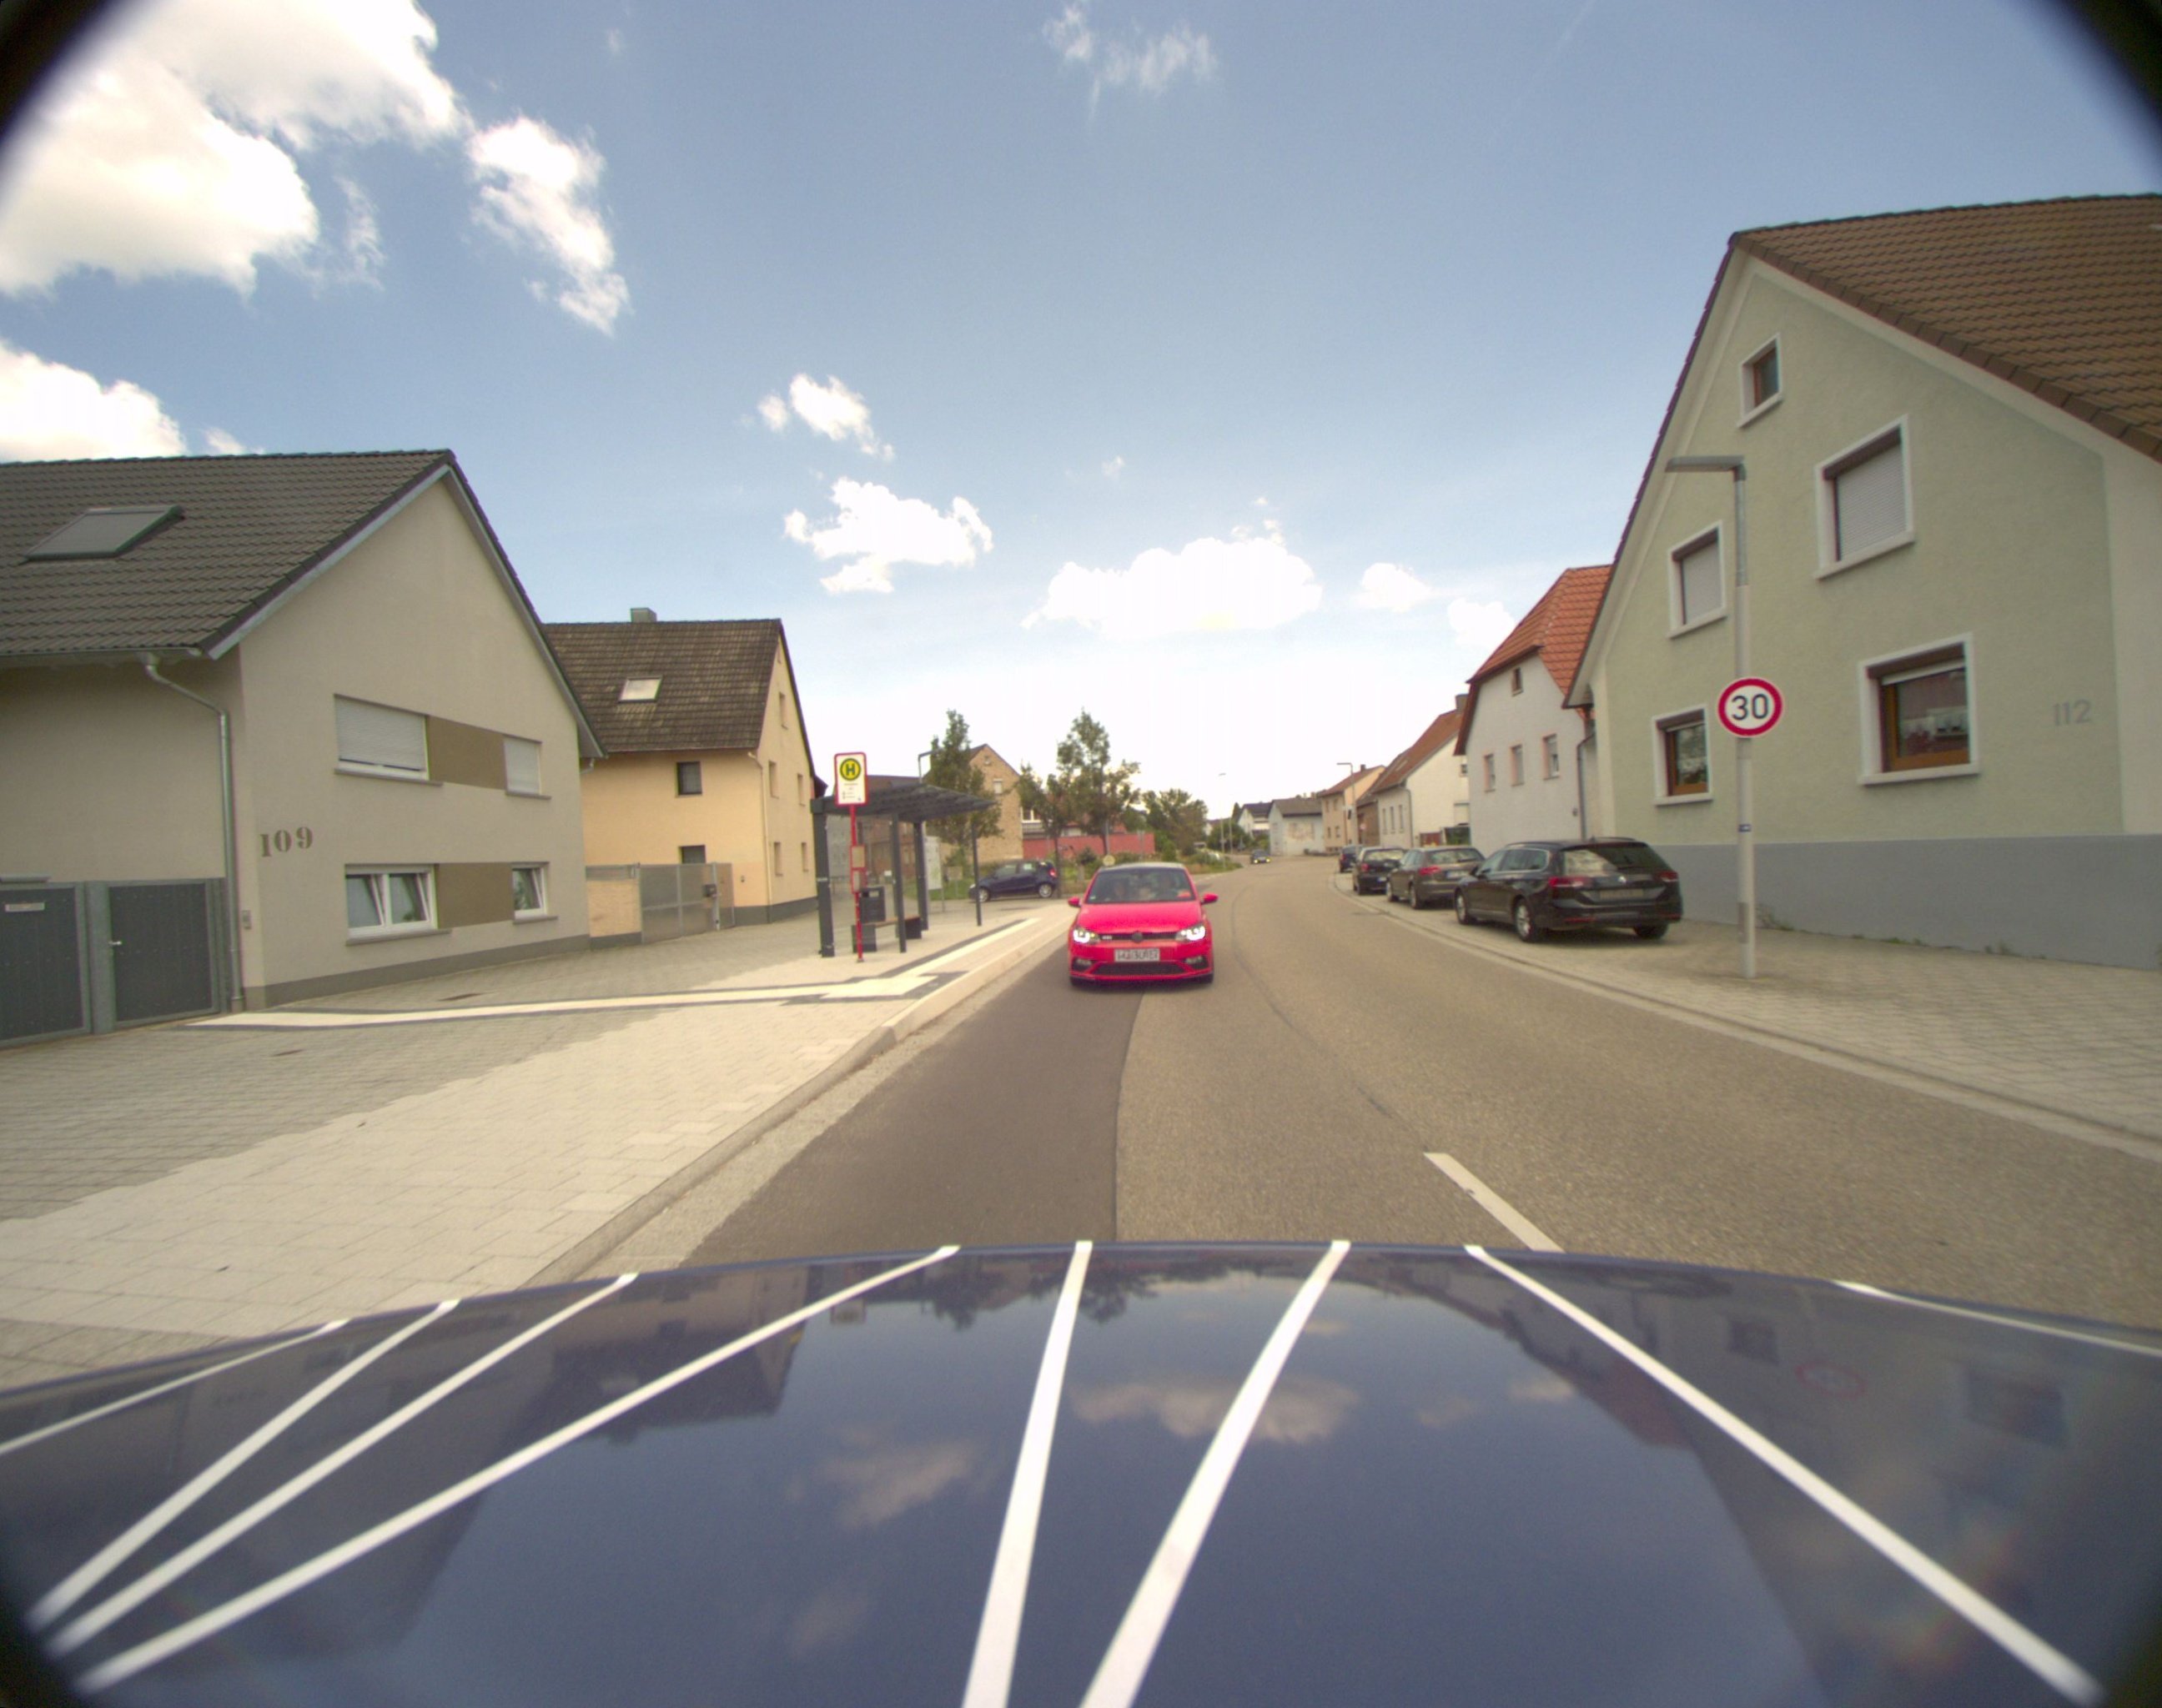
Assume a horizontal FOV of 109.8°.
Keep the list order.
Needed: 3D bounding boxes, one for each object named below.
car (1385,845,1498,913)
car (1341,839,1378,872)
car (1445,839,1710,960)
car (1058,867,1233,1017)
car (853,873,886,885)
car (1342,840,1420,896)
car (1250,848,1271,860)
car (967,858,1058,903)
[{"bbox_3d":[8.496,0.521,18.223,1.658,1.388,3.695,-3,1,13],"label":"car"},{"bbox_3d":[14.596,0.060,39.819,1.657,1.565,3.696,-2,1,21],"label":"car"},{"bbox_3d":[7.352,0.548,11.879,1.736,1.482,4.503,-3,1,9],"label":"car"},{"bbox_3d":[0.659,0.958,9.925,1.782,1.403,3.887,-3,0,-1],"label":"car"},{"bbox_3d":[-20.813,2.426,74.632,1.806,1.053,3.990,-3,0,-36],"label":"car"},{"bbox_3d":[9.303,0.384,23.833,1.658,1.554,3.694,-3,1,13],"label":"car"},{"bbox_3d":[20.380,0.019,86.406,1.997,1.182,4.002,-2,1,8],"label":"car"},{"bbox_3d":[-2.801,1.076,31.479,3.548,1.583,1.666,-4,0,-2],"label":"car"}]
